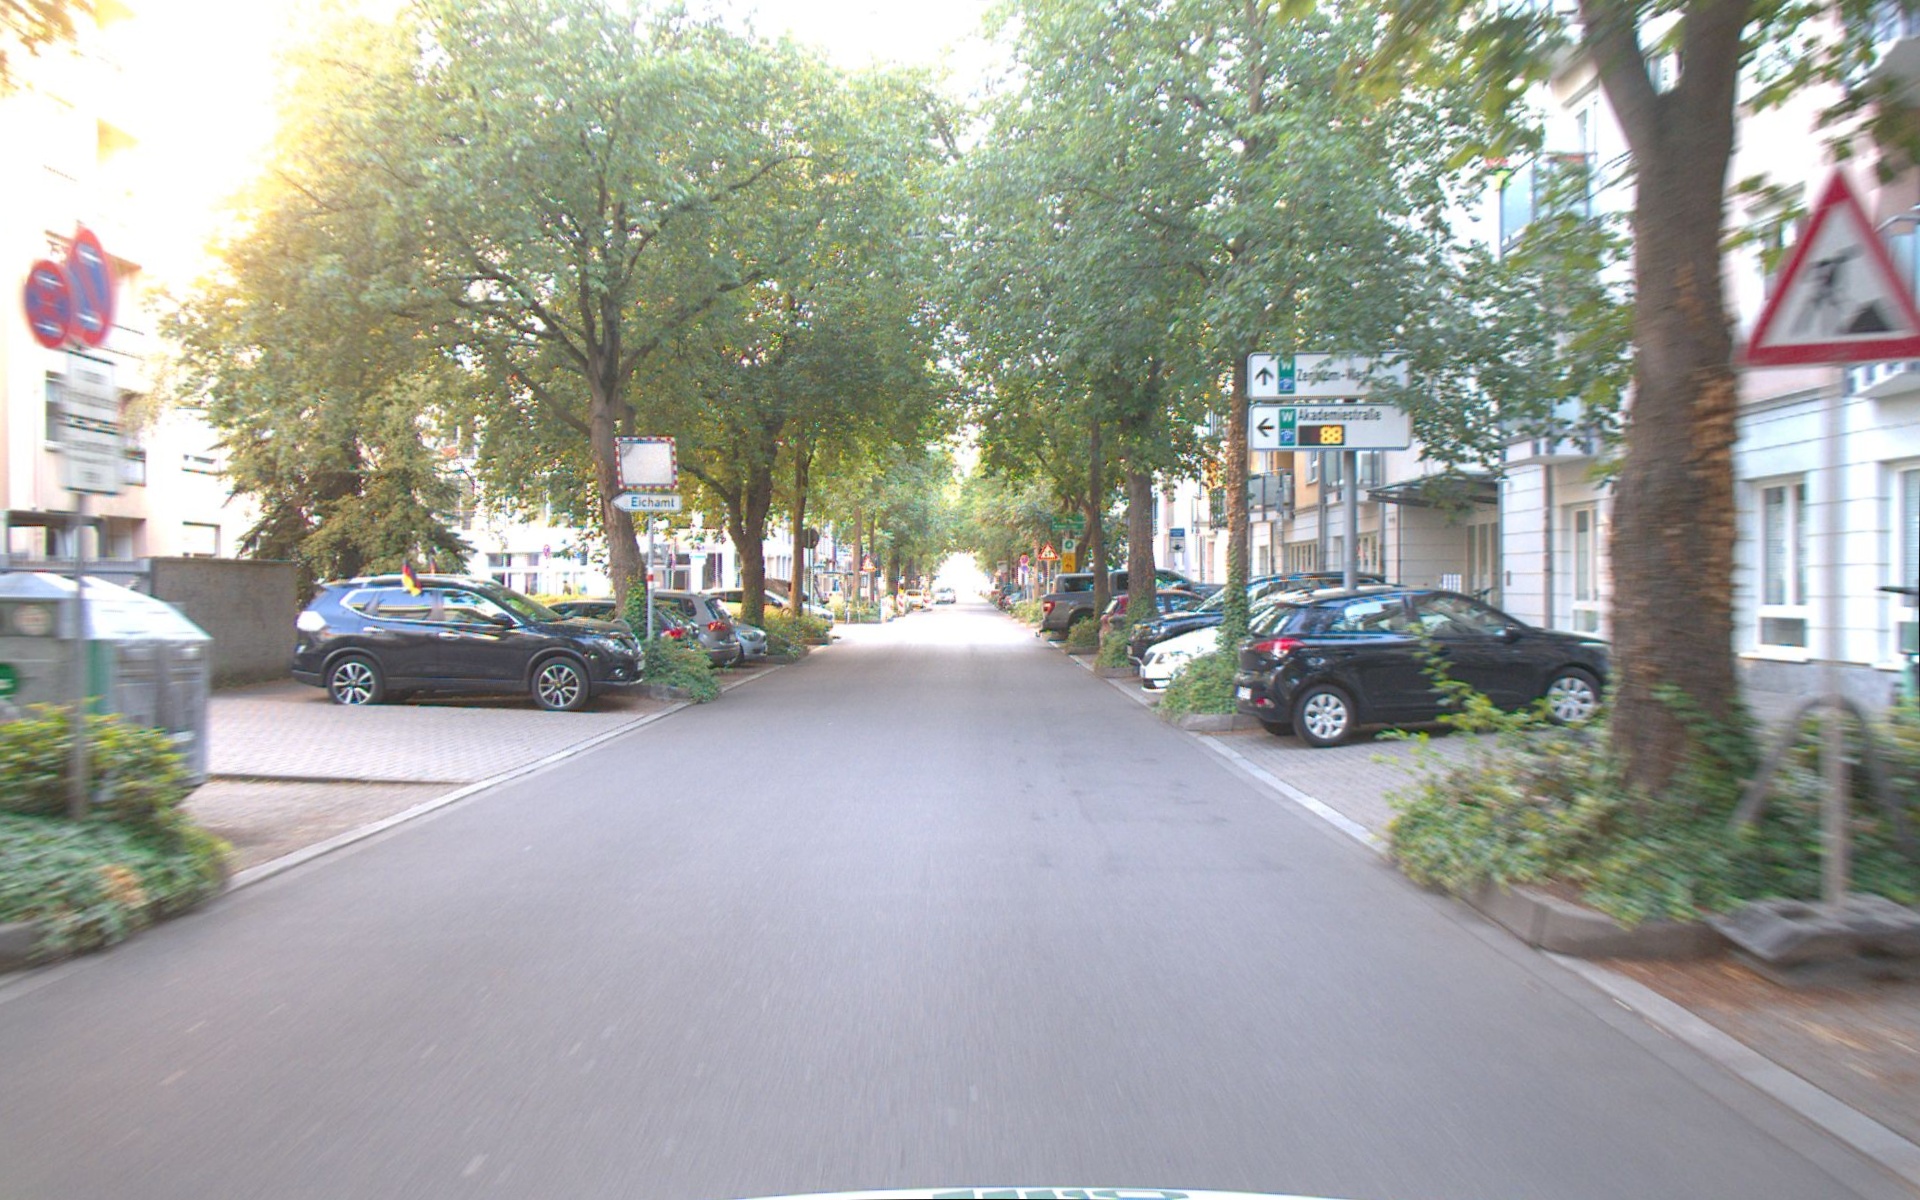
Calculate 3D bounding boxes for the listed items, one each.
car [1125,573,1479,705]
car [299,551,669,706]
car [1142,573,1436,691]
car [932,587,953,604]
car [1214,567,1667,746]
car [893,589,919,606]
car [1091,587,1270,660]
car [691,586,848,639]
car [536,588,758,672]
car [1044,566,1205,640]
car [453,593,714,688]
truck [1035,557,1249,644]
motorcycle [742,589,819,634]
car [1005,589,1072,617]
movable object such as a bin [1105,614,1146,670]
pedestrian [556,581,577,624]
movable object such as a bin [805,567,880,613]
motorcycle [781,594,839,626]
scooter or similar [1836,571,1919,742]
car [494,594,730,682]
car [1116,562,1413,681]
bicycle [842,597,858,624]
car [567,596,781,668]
[{"bbox_3d":[4.674,0.515,23.053,4.507,1.493,1.796,-3,0,-1],"label":"car"},{"bbox_3d":[-6.295,0.358,22.299,4.413,1.989,1.999,0,0,-2],"label":"car"},{"bbox_3d":[5.007,0.470,25.635,4.137,1.463,1.930,-4,0,2],"label":"car"},{"bbox_3d":[-1.687,-0.436,159.208,1.969,1.641,4.119,0,0,-1],"label":"car"},{"bbox_3d":[4.842,0.531,17.030,4.004,1.476,1.933,-4,0,-5],"label":"car"},{"bbox_3d":[-4.368,-0.232,133.935,1.954,1.310,3.997,0,0,-4],"label":"car"},{"bbox_3d":[4.838,0.504,36.649,3.700,1.571,1.877,0,0,-1],"label":"car"},{"bbox_3d":[-5.844,0.373,51.075,4.523,1.579,2.076,0,0,2],"label":"car"},{"bbox_3d":[-6.118,0.574,32.569,3.902,1.593,1.930,0,0,5],"label":"car"},{"bbox_3d":[4.820,0.071,49.011,4.507,2.102,2.197,-1,0,-1],"label":"car"},{"bbox_3d":[-6.184,0.647,27.522,3.906,1.489,1.922,0,0,-2],"label":"car"},{"bbox_3d":[5.019,0.005,46.267,5.766,2.351,2.213,0,0,1],"label":"truck"},{"bbox_3d":[-5.935,0.371,54.669,2.402,1.445,0.911,0,0,2],"label":"motorcycle"},{"bbox_3d":[4.617,0.188,97.681,3.904,1.612,2.001,0,0,2],"label":"car"},{"bbox_3d":[3.410,0.861,34.094,0.745,1.103,0.785,-2,0,1],"label":"movable object such as a bin"},{"bbox_3d":[-17.178,0.111,72.200,0.872,1.883,0.872,0,0,-15],"label":"pedestrian"},{"bbox_3d":[-6.334,-0.562,88.932,3.968,2.424,2.781,-1,1,-6],"label":"movable object such as a bin"},{"bbox_3d":[-6.412,0.417,70.787,2.335,1.304,1.052,-1,1,-40],"label":"motorcycle"},{"bbox_3d":[7.329,0.409,12.409,0.642,1.224,1.454,-3,0,-2],"label":"scooter or similar"},{"bbox_3d":[-6.222,0.655,29.904,3.907,1.517,1.825,0,0,-2],"label":"car"},{"bbox_3d":[5.122,0.341,28.227,4.551,1.645,2.008,-4,0,-4],"label":"car"},{"bbox_3d":[-4.957,0.446,74.390,0.670,1.173,1.979,-1,1,-5],"label":"bicycle"},{"bbox_3d":[-6.021,0.662,35.197,4.199,1.454,1.879,0,0,0],"label":"car"}]
